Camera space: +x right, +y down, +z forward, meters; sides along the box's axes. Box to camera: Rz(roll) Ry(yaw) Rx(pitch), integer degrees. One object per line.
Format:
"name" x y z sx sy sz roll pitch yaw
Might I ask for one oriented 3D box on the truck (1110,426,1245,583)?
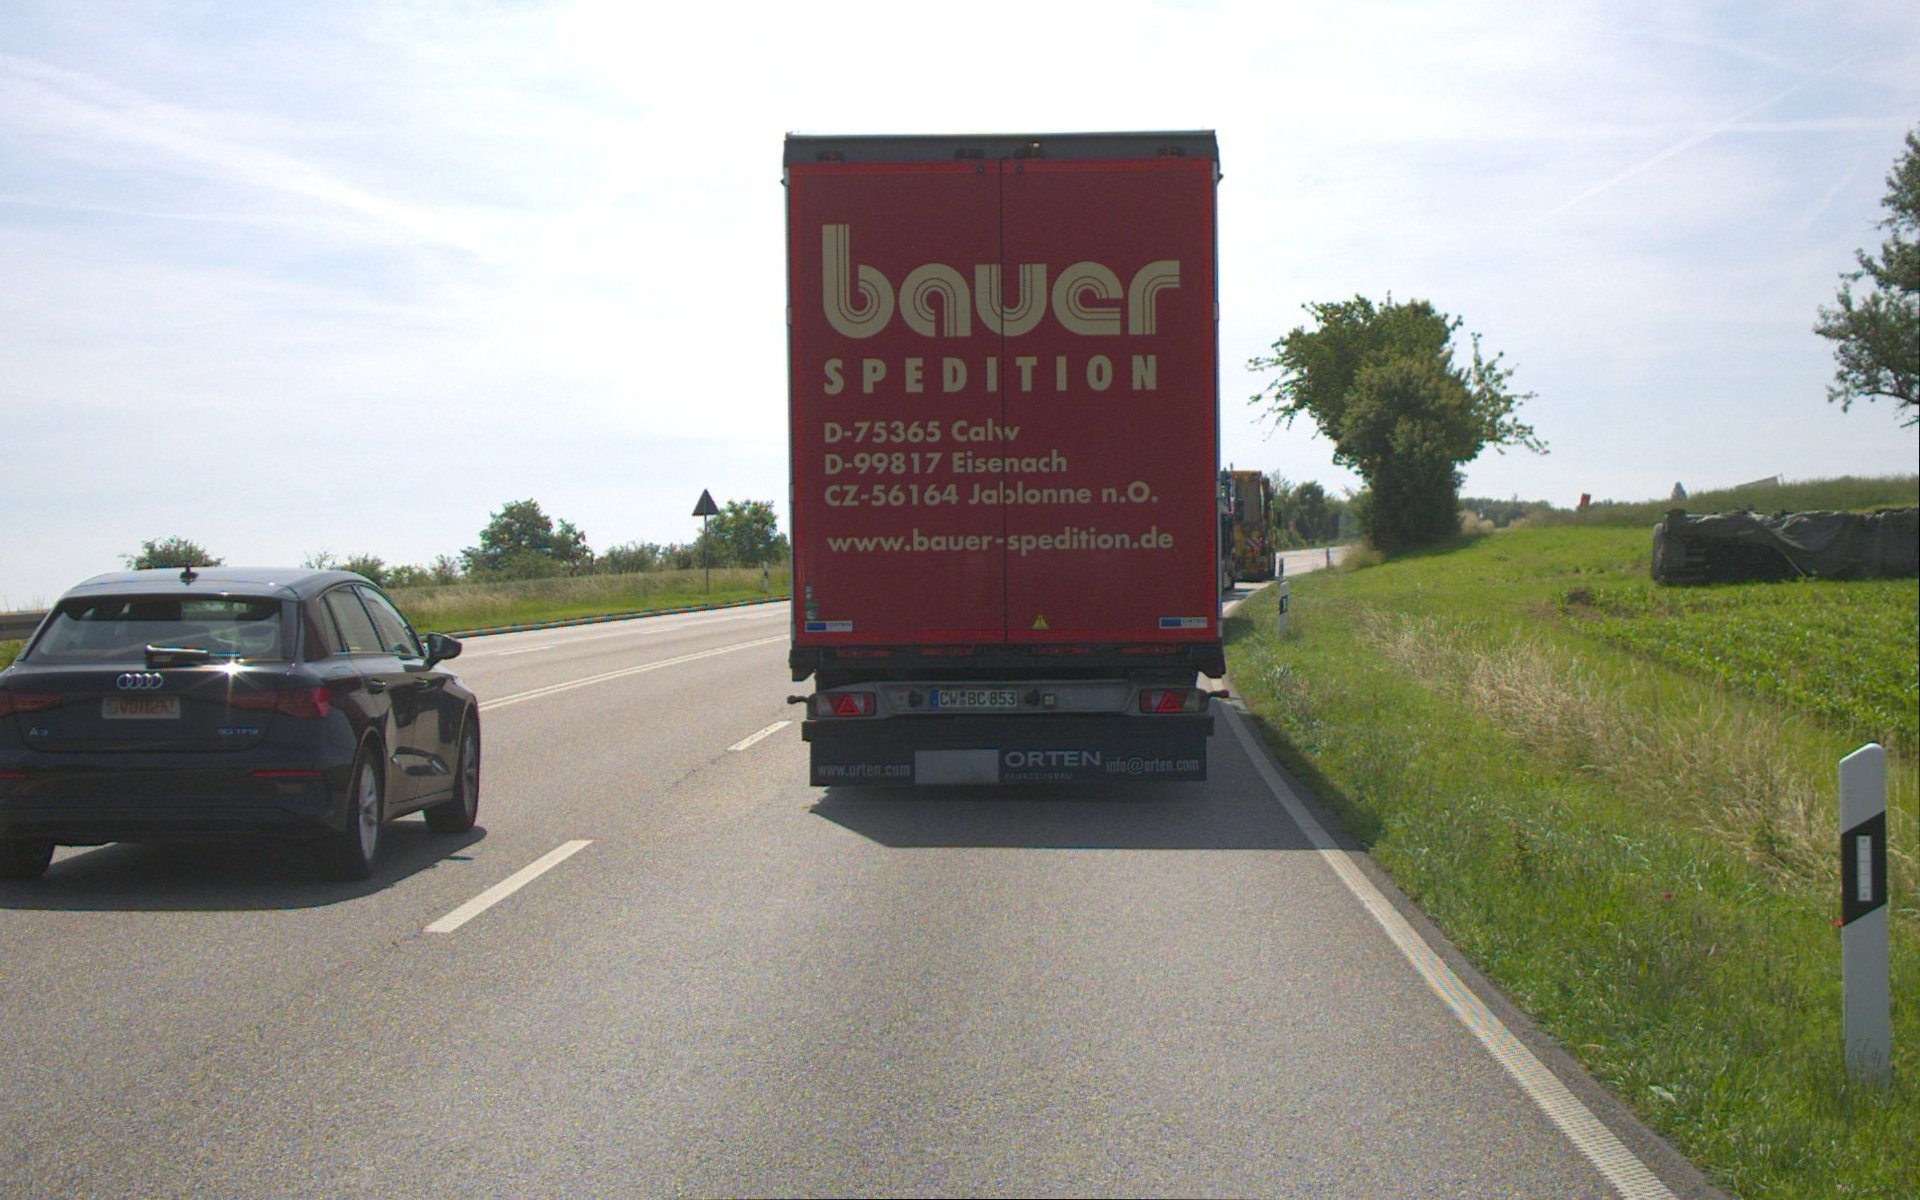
"truck" 6.091 -2.532 93.923 3.047 3.897 15.612 -1 1 6

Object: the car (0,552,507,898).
"car" -3.485 0.503 17.101 1.705 1.467 4.811 0 1 2

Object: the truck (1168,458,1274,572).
"truck" 9.827 -3.098 127.757 3.048 3.897 18.393 -1 1 7

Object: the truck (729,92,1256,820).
"truck" 0.398 -0.961 28.136 3.007 4.165 16.714 0 1 1
